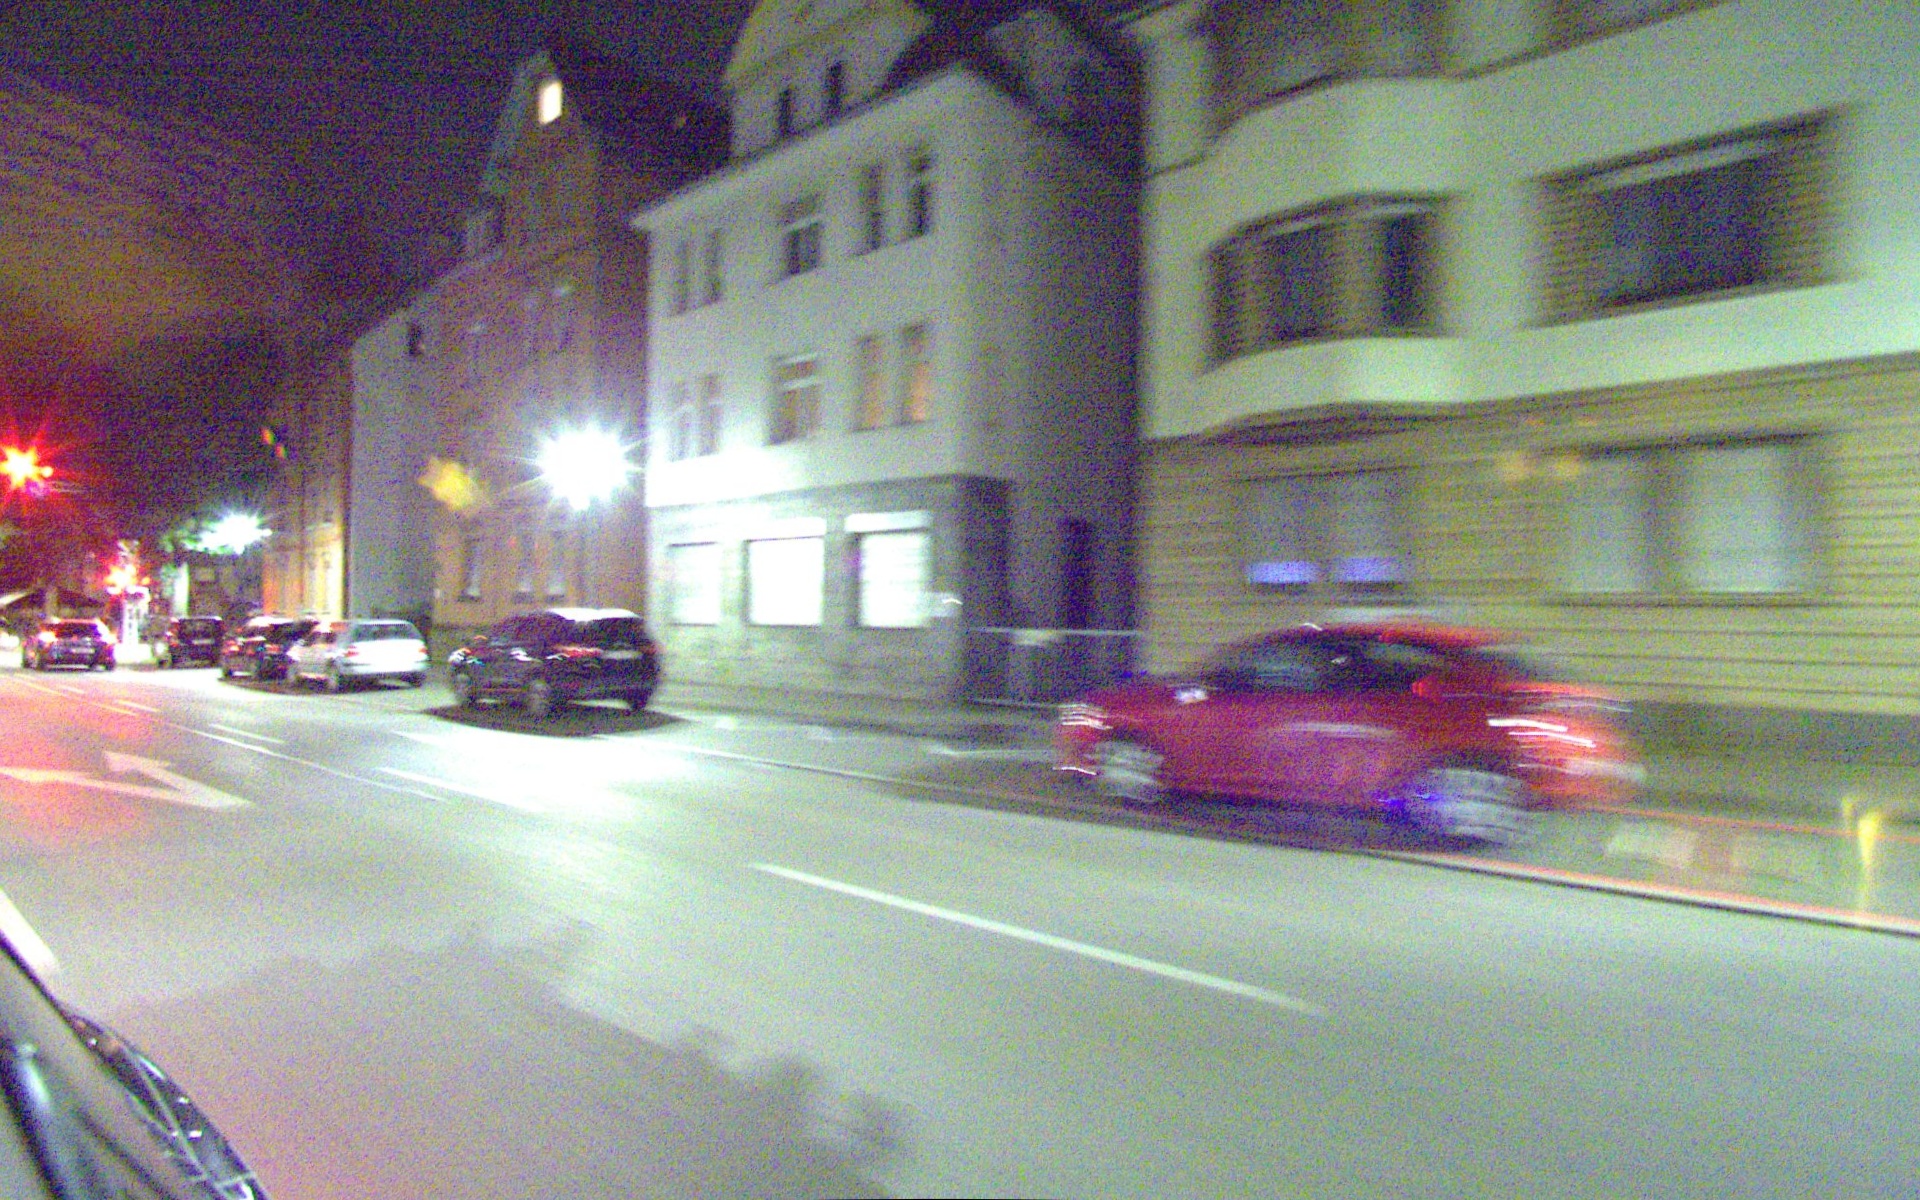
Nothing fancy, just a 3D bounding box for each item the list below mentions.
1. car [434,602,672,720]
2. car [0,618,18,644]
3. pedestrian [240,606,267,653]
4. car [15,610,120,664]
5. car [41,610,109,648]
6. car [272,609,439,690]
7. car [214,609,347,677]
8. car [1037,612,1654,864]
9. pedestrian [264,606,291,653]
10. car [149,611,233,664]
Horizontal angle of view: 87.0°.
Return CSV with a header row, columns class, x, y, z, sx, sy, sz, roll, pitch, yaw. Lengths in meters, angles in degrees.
class,x,y,z,sx,sy,sz,roll,pitch,yaw
car,-6.612,0.876,16.190,4.410,1.594,1.765,-1,1,42
car,-55.762,1.787,58.247,4.441,1.444,1.841,-1,0,41
pedestrian,-25.703,1.076,36.807,0.700,1.703,1.126,2,-3,-39
car,-25.503,1.065,28.886,3.998,1.440,1.697,-1,-4,41
car,-39.764,1.262,45.459,4.023,1.608,1.866,-1,0,42
car,-12.820,0.988,21.380,3.996,1.502,1.767,-1,1,39
car,-16.969,1.017,25.208,4.329,1.502,1.765,-1,1,43
car,2.795,0.833,7.834,4.122,1.426,1.767,-1,-1,39
pedestrian,-25.155,1.099,37.286,0.700,1.703,0.999,2,-3,-39
car,-23.865,1.117,31.380,1.574,1.502,3.701,-2,1,-45
